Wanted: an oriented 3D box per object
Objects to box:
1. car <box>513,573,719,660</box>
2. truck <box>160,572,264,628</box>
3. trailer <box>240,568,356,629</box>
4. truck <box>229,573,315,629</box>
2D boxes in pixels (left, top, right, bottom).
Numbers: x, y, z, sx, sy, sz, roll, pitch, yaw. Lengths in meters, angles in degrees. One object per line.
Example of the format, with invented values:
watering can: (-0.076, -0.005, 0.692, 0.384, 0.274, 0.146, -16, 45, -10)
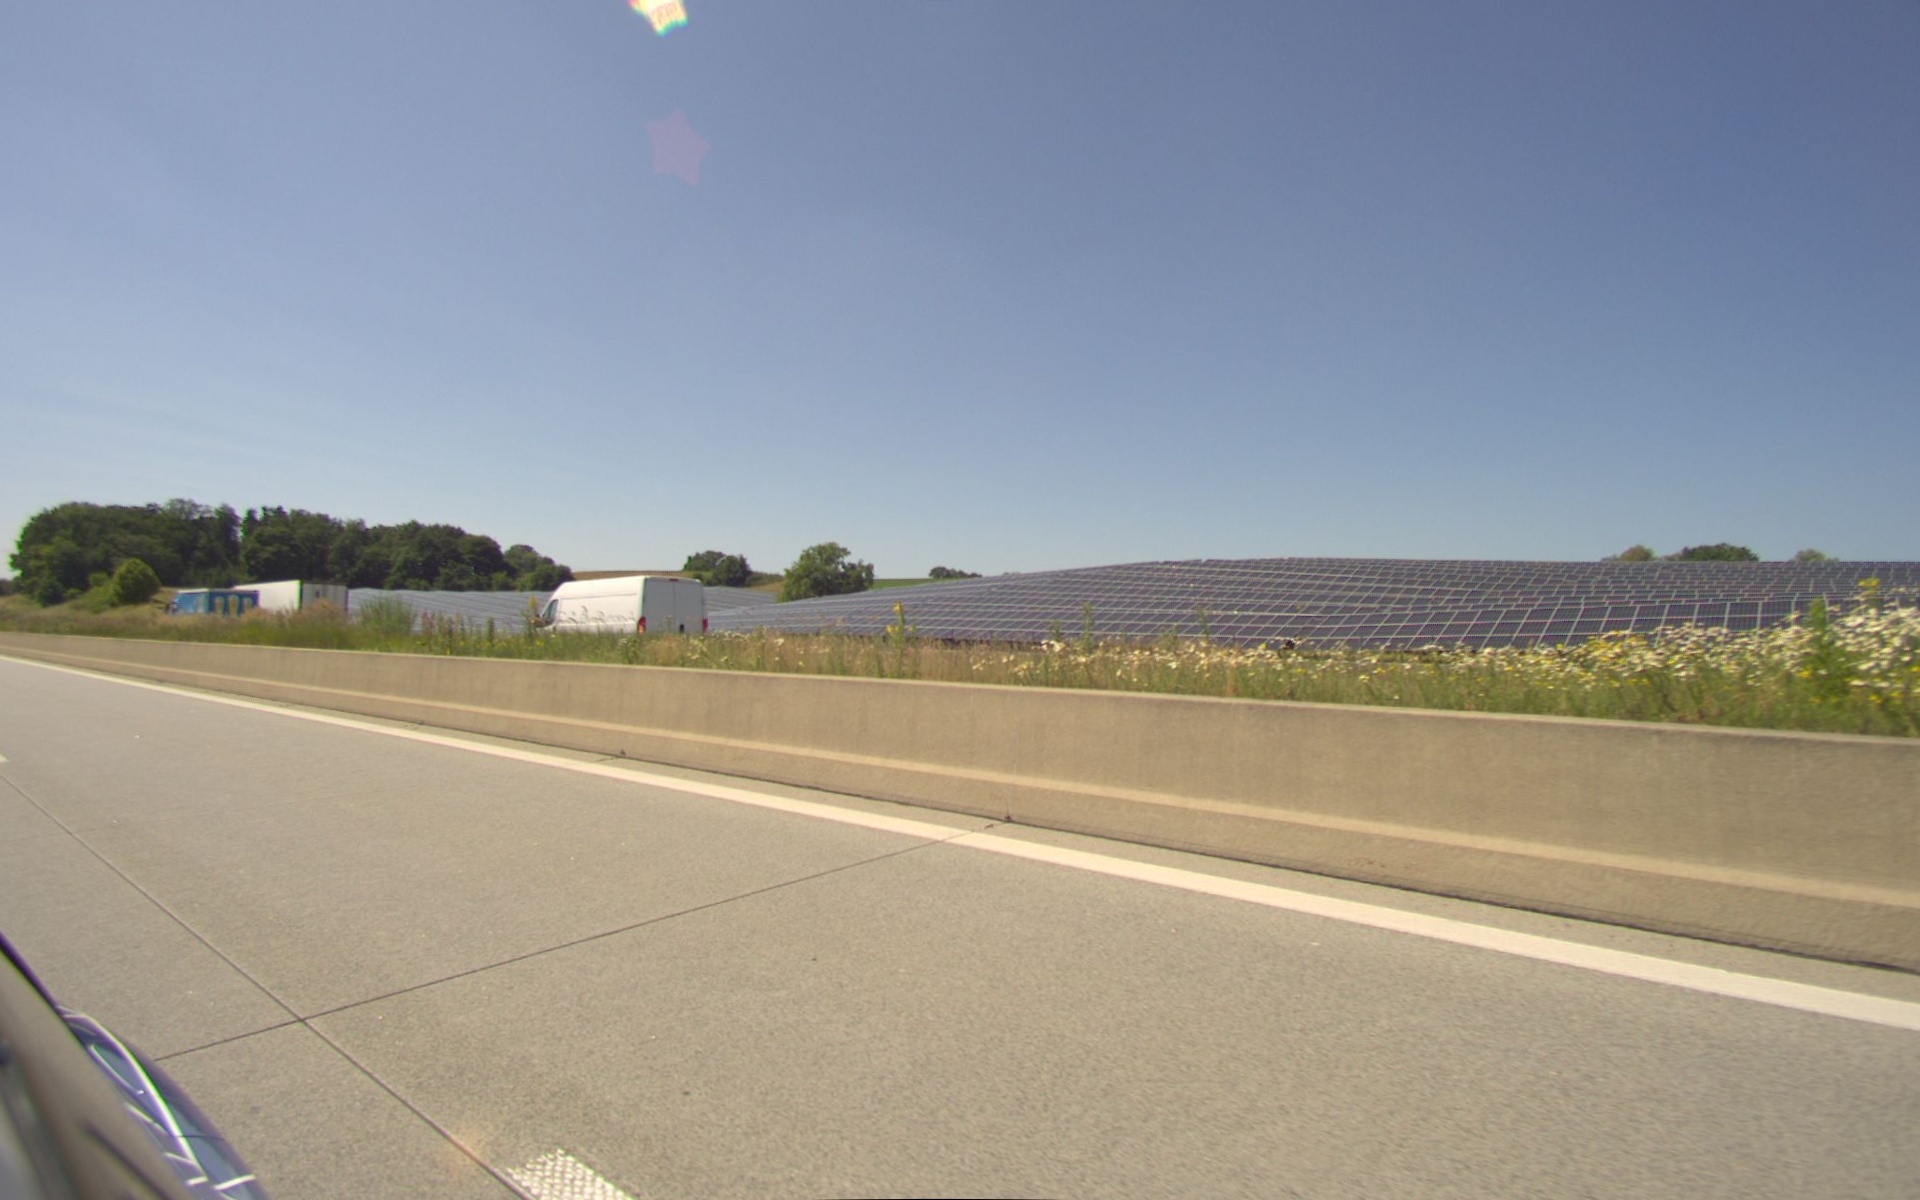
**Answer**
car: (-9.148, 0.393, 26.558, 6.343, 2.029, 2.161, -1, 0, 40)
truck: (-45.036, 0.018, 60.753, 10.369, 3.087, 2.795, -1, 0, 41)
trailer: (-41.731, -0.058, 63.534, 11.758, 3.551, 3.042, -1, 0, 41)
truck: (-45.528, 0.086, 66.924, 6.882, 3.513, 3.090, -1, 0, 41)
